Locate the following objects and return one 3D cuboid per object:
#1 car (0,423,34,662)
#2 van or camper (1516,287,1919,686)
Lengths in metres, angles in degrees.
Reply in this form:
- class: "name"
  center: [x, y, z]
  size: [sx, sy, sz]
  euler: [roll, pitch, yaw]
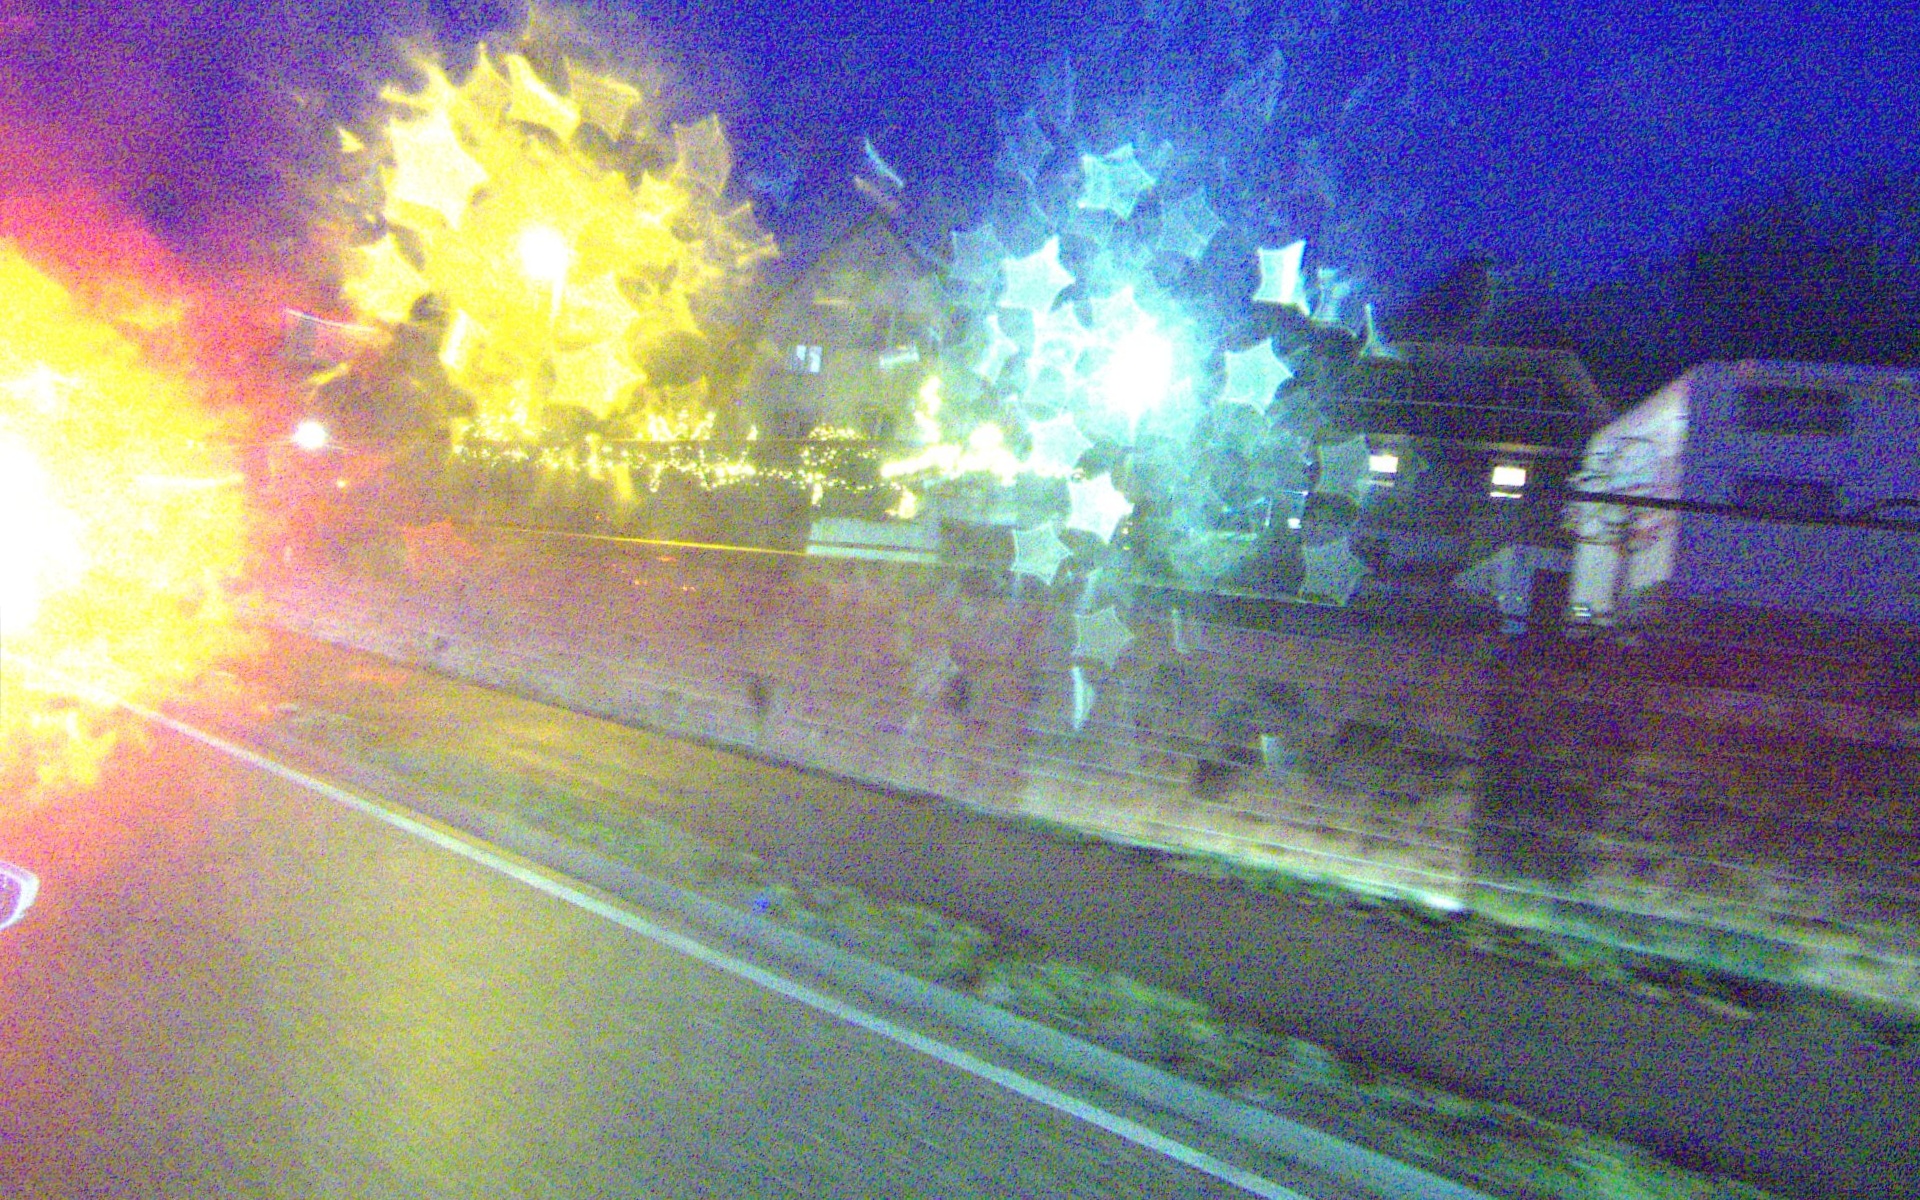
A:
- class: "car"
  center: [-10.221, -0.772, 8.882]
  size: [4.150, 1.995, 1.944]
  euler: [7, 0, 34]
- class: "van or camper"
  center: [9.006, -0.716, 9.041]
  size: [6.237, 2.944, 2.590]
  euler: [7, 0, 12]
